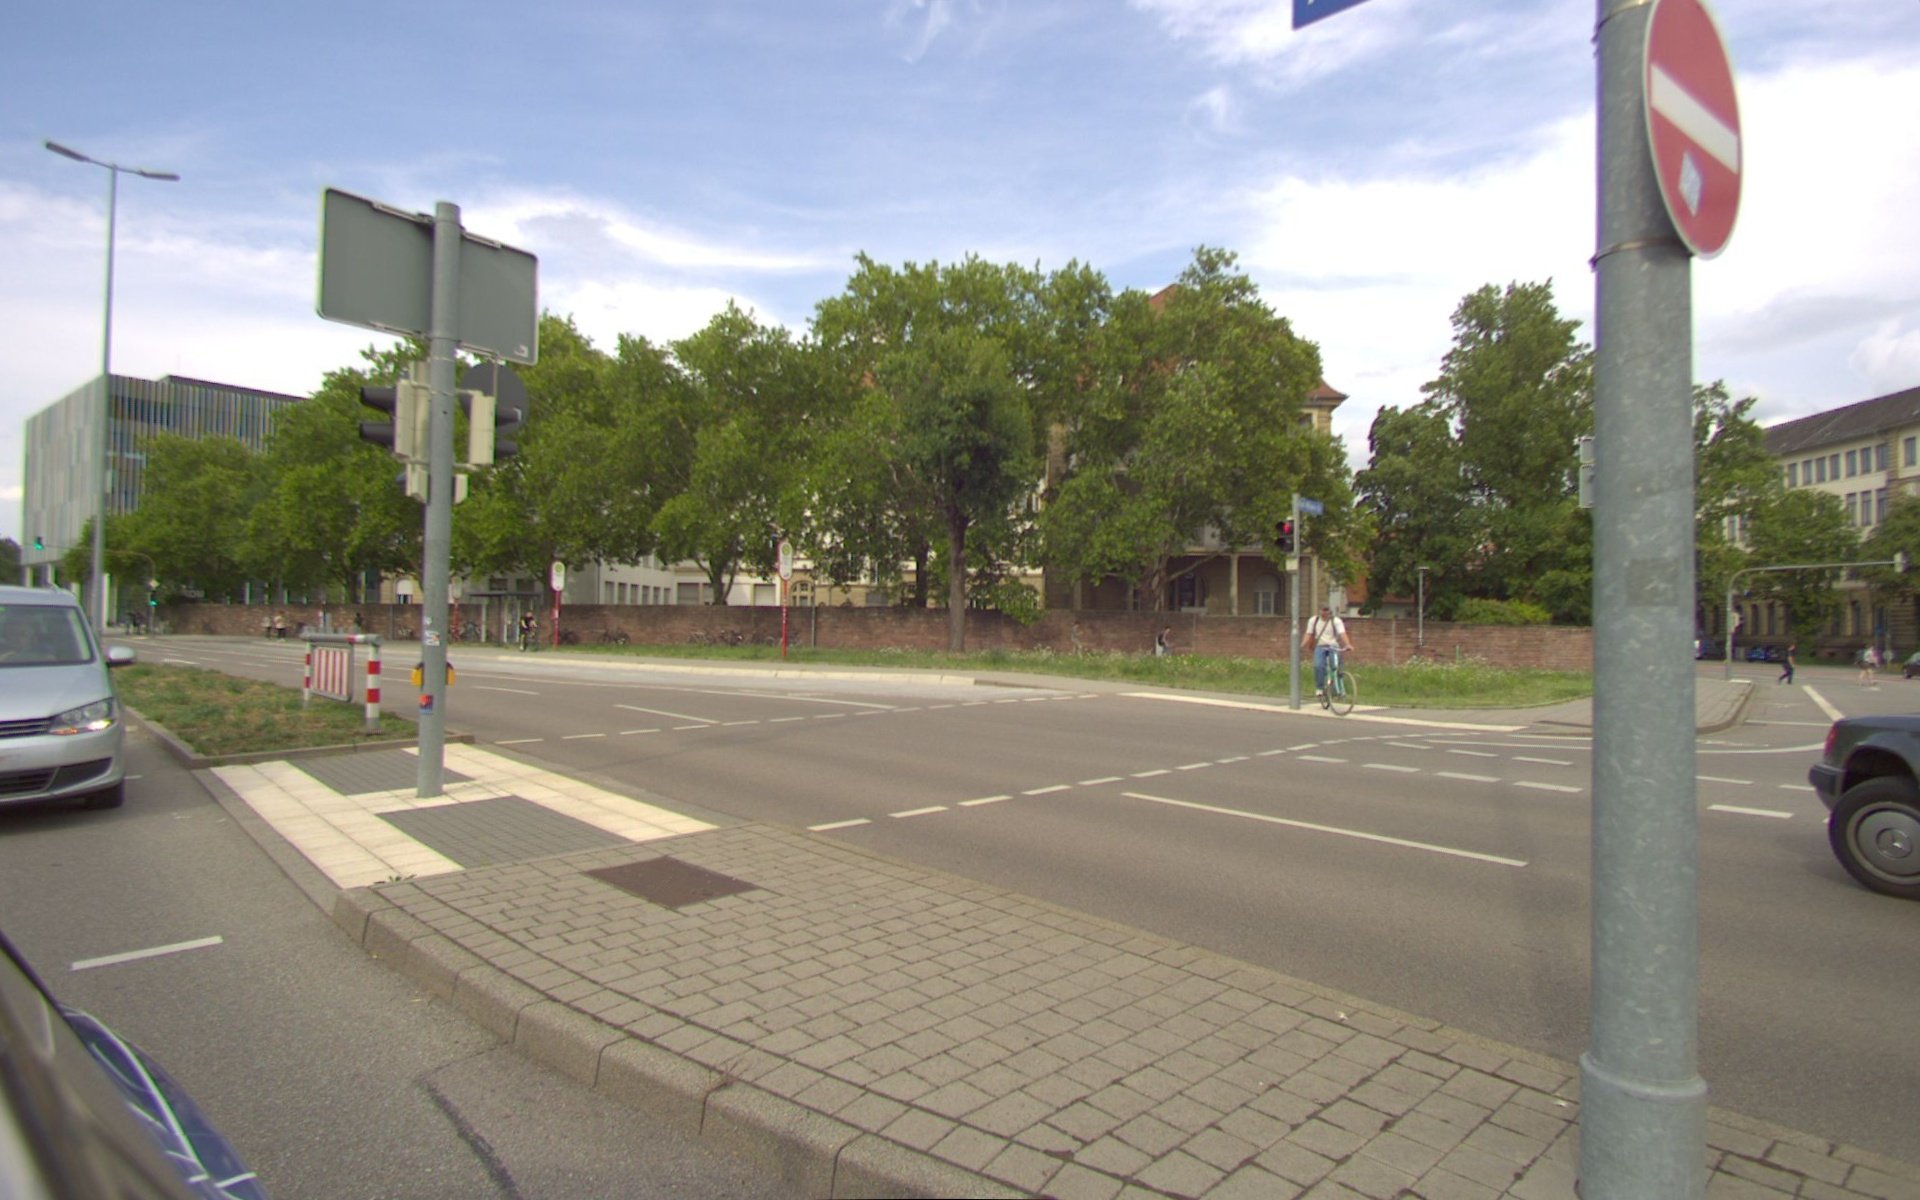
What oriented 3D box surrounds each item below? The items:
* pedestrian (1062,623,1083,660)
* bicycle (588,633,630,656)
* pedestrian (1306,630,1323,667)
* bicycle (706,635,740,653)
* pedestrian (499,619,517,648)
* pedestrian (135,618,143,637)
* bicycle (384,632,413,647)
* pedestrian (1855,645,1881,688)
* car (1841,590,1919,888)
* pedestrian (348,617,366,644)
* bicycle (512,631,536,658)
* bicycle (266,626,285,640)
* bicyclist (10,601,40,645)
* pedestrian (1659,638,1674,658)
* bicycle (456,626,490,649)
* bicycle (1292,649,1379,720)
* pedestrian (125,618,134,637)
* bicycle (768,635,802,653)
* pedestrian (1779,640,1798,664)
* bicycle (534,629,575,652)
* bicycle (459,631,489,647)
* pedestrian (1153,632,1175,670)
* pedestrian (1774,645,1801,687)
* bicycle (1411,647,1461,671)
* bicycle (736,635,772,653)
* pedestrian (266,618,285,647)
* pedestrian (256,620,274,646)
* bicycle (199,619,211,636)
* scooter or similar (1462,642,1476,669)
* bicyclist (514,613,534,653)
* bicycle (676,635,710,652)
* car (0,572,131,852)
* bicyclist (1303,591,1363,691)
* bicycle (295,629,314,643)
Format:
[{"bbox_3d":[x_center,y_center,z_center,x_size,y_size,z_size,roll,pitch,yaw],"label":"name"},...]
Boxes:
[{"bbox_3d":[5.128,1.898,46.212,0.769,1.667,0.579,0,0,-12],"label":"pedestrian"},{"bbox_3d":[-18.645,2.374,53.730,2.083,1.198,0.753,0,-4,21],"label":"bicycle"},{"bbox_3d":[16.107,2.210,45.956,0.623,1.667,0.530,0,0,9],"label":"pedestrian"},{"bbox_3d":[-12.089,2.240,51.635,1.797,0.871,0.356,0,-4,22],"label":"bicycle"},{"bbox_3d":[-25.210,1.865,56.456,0.749,1.634,0.565,0,0,20],"label":"pedestrian"},{"bbox_3d":[-63.123,2.116,77.799,0.472,1.468,0.397,0,0,36],"label":"pedestrian"},{"bbox_3d":[-33.582,2.352,60.498,1.566,0.894,0.656,-1,1,23],"label":"bicycle"},{"bbox_3d":[38.550,2.805,42.976,0.800,1.724,0.827,0,0,44],"label":"pedestrian"},{"bbox_3d":[5.321,0.694,3.306,1.683,1.491,4.400,0,0,11],"label":"car"},{"bbox_3d":[-37.324,1.889,62.614,0.656,1.634,0.754,0,0,1],"label":"pedestrian"},{"bbox_3d":[-17.572,1.781,40.760,0.497,0.943,1.977,2,0,-34],"label":"bicycle"},{"bbox_3d":[-45.699,2.221,67.592,1.570,0.894,0.429,-1,1,32],"label":"bicycle"},{"bbox_3d":[-37.876,0.935,40.997,1.086,1.724,0.767,-3,-6,45],"label":"bicyclist"},{"bbox_3d":[71.718,4.858,102.737,0.881,2.029,1.005,1,-2,13],"label":"pedestrian"},{"bbox_3d":[-26.983,2.113,56.069,0.748,1.198,2.096,1,-4,3],"label":"bicycle"},{"bbox_3d":[5.987,1.323,16.244,0.498,0.943,1.974,2,0,-5],"label":"bicycle"},{"bbox_3d":[-63.362,2.107,77.226,0.472,1.468,0.397,0,0,36],"label":"pedestrian"},{"bbox_3d":[-8.780,2.225,50.775,1.694,0.871,0.357,0,-4,17],"label":"bicycle"},{"bbox_3d":[70.375,4.406,86.009,0.881,2.029,1.005,1,-2,13],"label":"pedestrian"},{"bbox_3d":[-22.141,2.189,55.234,2.083,1.198,0.753,0,-4,21],"label":"bicycle"},{"bbox_3d":[-27.654,2.225,57.605,1.566,0.894,0.656,-1,1,23],"label":"bicycle"},{"bbox_3d":[9.160,2.278,45.500,0.769,1.667,0.579,0,0,-18],"label":"pedestrian"},{"bbox_3d":[35.133,2.800,42.965,0.800,1.724,0.827,0,0,44],"label":"pedestrian"},{"bbox_3d":[21.685,2.673,46.123,1.898,1.012,0.780,0,0,-2],"label":"bicycle"},{"bbox_3d":[-10.369,2.232,50.901,1.879,0.871,0.356,-1,-4,24],"label":"bicycle"},{"bbox_3d":[-39.621,1.862,58.557,0.664,1.634,0.745,0,0,36],"label":"pedestrian"},{"bbox_3d":[-44.275,2.083,64.483,0.664,1.634,0.745,0,0,36],"label":"pedestrian"},{"bbox_3d":[-55.640,2.003,74.572,1.395,1.218,0.506,0,0,42],"label":"bicycle"},{"bbox_3d":[23.398,2.544,46.509,0.517,1.148,1.506,0,0,25],"label":"scooter or similar"},{"bbox_3d":[-17.545,1.318,40.733,0.570,1.567,0.800,2,0,-34],"label":"bicyclist"},{"bbox_3d":[-13.803,2.248,52.280,1.808,0.871,0.356,0,-4,20],"label":"bicycle"},{"bbox_3d":[-7.736,0.709,7.817,1.797,1.747,4.533,0,0,-43],"label":"car"},{"bbox_3d":[6.009,0.647,16.337,0.571,1.567,0.799,2,0,-4],"label":"bicyclist"},{"bbox_3d":[-42.483,2.331,65.577,1.570,0.894,0.429,-1,1,32],"label":"bicycle"}]
